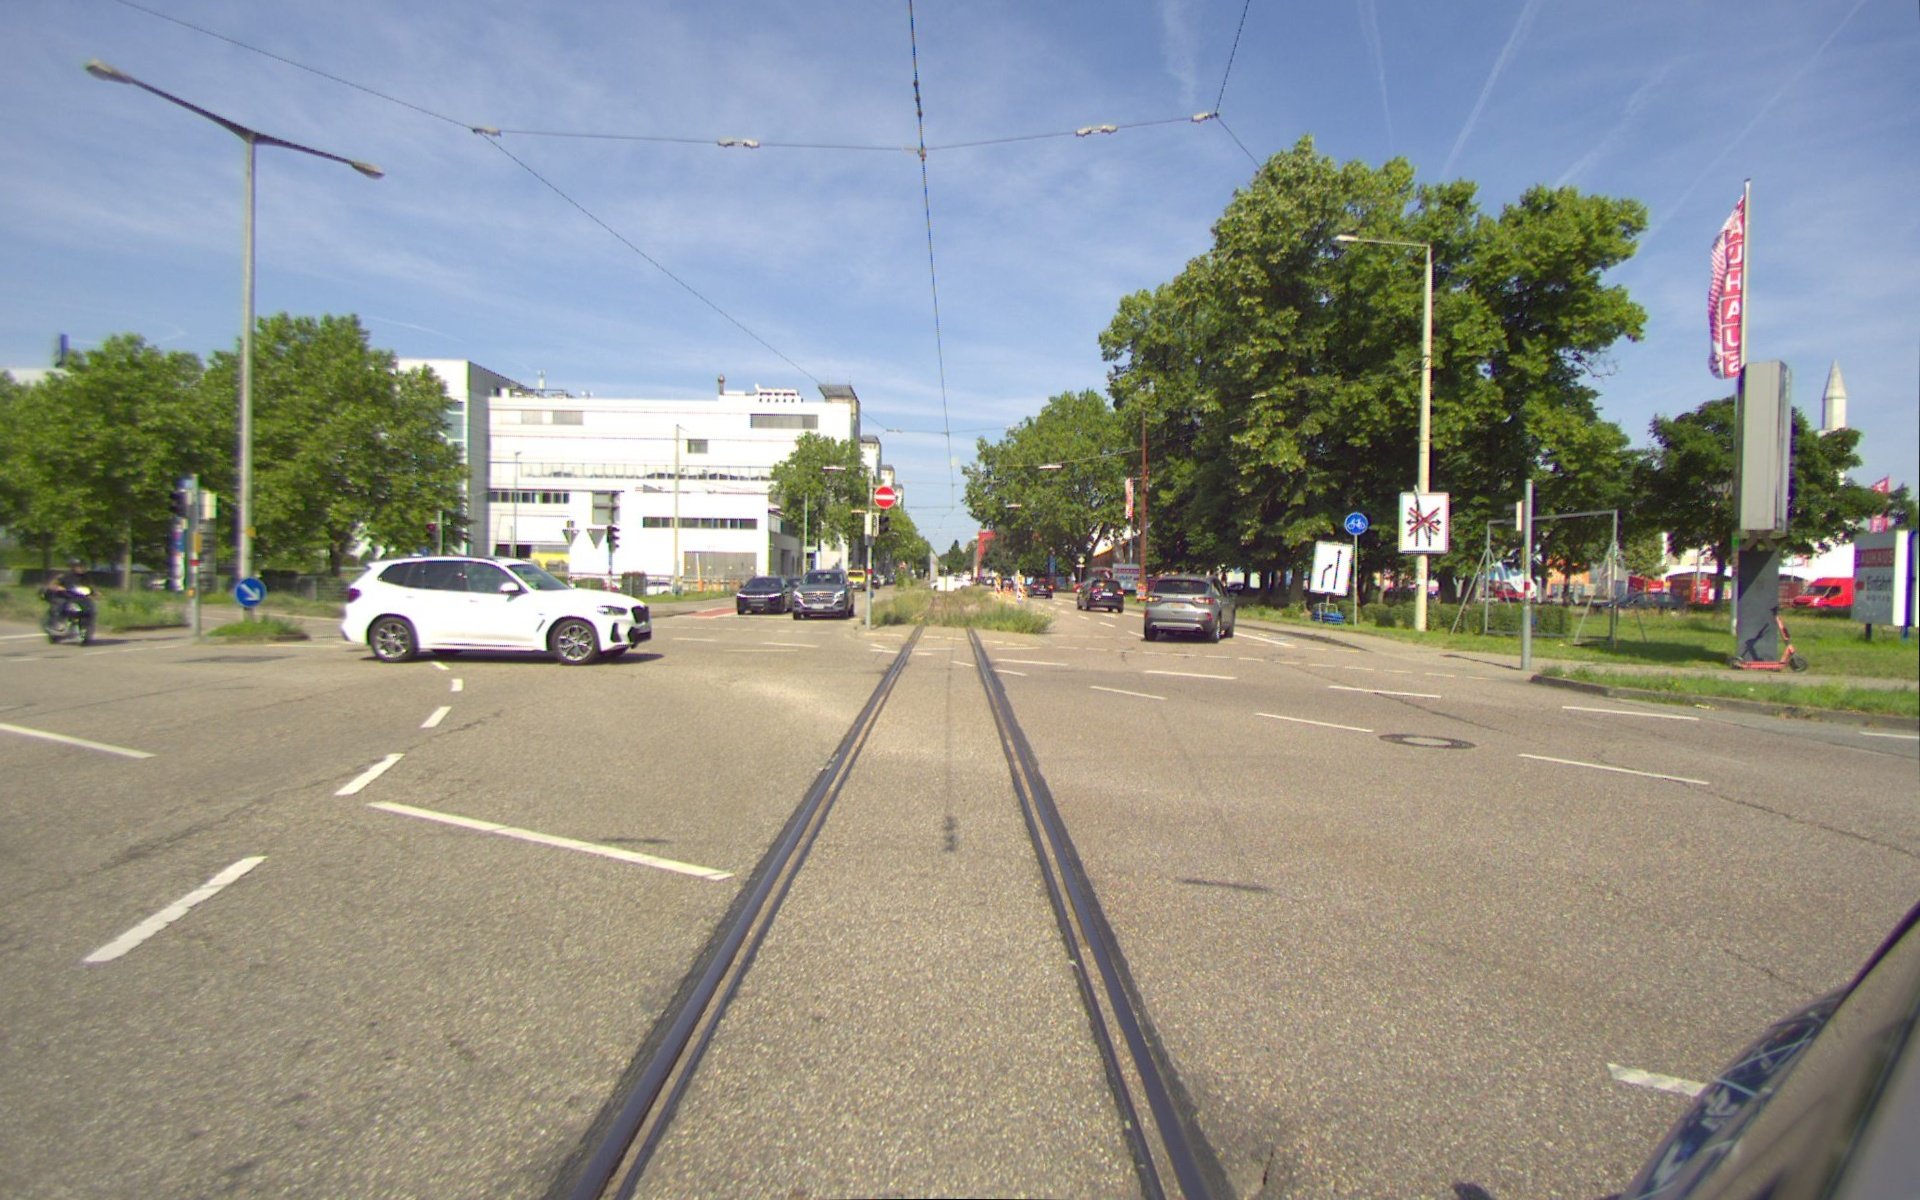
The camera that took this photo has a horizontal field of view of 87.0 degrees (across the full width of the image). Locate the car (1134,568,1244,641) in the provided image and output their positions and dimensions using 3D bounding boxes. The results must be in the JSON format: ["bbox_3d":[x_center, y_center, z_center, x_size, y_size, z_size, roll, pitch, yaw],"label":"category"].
[{"bbox_3d":[5.957,0.038,25.911,1.975,1.671,4.620,1,1,23],"label":"car"}]

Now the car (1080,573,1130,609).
[{"bbox_3d":[6.927,-0.476,48.760,1.780,1.625,4.379,1,1,0],"label":"car"}]

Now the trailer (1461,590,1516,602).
[{"bbox_3d":[40.974,-0.333,78.596,2.061,0.792,4.409,1,1,3],"label":"trailer"}]

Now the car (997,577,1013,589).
[{"bbox_3d":[5.825,-2.199,132.673,1.816,1.529,4.345,1,1,-1],"label":"car"}]

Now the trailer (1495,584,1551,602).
[{"bbox_3d":[44.020,-0.576,79.195,1.559,1.303,4.417,1,1,-5],"label":"trailer"}]

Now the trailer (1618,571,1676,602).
[{"bbox_3d":[54.788,-1.116,80.819,1.561,2.405,4.412,1,2,1],"label":"trailer"}]

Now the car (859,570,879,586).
[{"bbox_3d":[-10.139,-2.465,113.111,1.879,1.710,4.628,1,1,-1],"label":"car"}]

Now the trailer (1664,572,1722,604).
[{"bbox_3d":[57.913,-1.002,80.046,1.523,2.387,4.408,1,2,4],"label":"trailer"}]

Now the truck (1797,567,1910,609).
[{"bbox_3d":[59.943,-0.823,67.934,5.911,2.642,2.021,1,1,-3],"label":"truck"}]

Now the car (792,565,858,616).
[{"bbox_3d":[-4.741,-0.375,36.174,1.879,1.710,4.629,1,1,-2],"label":"car"}]

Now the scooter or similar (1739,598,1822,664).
[{"bbox_3d":[14.929,0.546,18.449,1.116,1.140,0.421,1,1,34],"label":"scooter or similar"}]

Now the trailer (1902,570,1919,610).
[{"bbox_3d":[60.919,-0.559,62.145,4.330,2.405,1.751,1,2,3],"label":"trailer"}]

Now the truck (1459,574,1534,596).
[{"bbox_3d":[50.921,-1.381,96.133,5.891,1.855,2.187,1,-1,0],"label":"truck"}]

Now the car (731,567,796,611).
[{"bbox_3d":[-8.012,-0.485,41.652,1.879,1.710,4.629,1,1,-2],"label":"car"}]

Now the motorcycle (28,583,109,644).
[{"bbox_3d":[-16.928,0.226,19.198,2.031,1.096,0.728,1,2,36],"label":"motorcycle"}]

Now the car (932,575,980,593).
[{"bbox_3d":[-0.440,-1.625,100.843,4.532,1.710,1.919,0,1,-7],"label":"car"}]

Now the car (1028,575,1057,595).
[{"bbox_3d":[6.466,-1.220,79.934,1.815,1.529,4.396,1,1,-1],"label":"car"}]

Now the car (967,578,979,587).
[{"bbox_3d":[2.097,-2.891,165.748,1.816,1.529,4.345,1,1,-1],"label":"car"}]

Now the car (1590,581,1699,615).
[{"bbox_3d":[33.153,-0.120,49.104,3.981,1.607,1.727,1,1,7],"label":"car"}]

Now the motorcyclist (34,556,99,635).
[{"bbox_3d":[-16.962,-0.094,19.215,0.867,1.464,0.728,0,1,36],"label":"motorcyclist"}]

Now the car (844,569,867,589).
[{"bbox_3d":[-9.779,-2.003,94.964,1.747,1.832,4.629,1,1,-2],"label":"car"}]

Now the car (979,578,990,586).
[{"bbox_3d":[4.471,-3.339,185.498,1.816,1.529,4.345,1,1,-1],"label":"car"}]

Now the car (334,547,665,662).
[{"bbox_3d":[-7.338,0.038,16.449,4.539,1.710,1.916,1,1,1],"label":"car"}]

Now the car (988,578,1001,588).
[{"bbox_3d":[5.426,-2.760,159.277,1.816,1.529,4.345,1,1,-1],"label":"car"}]
